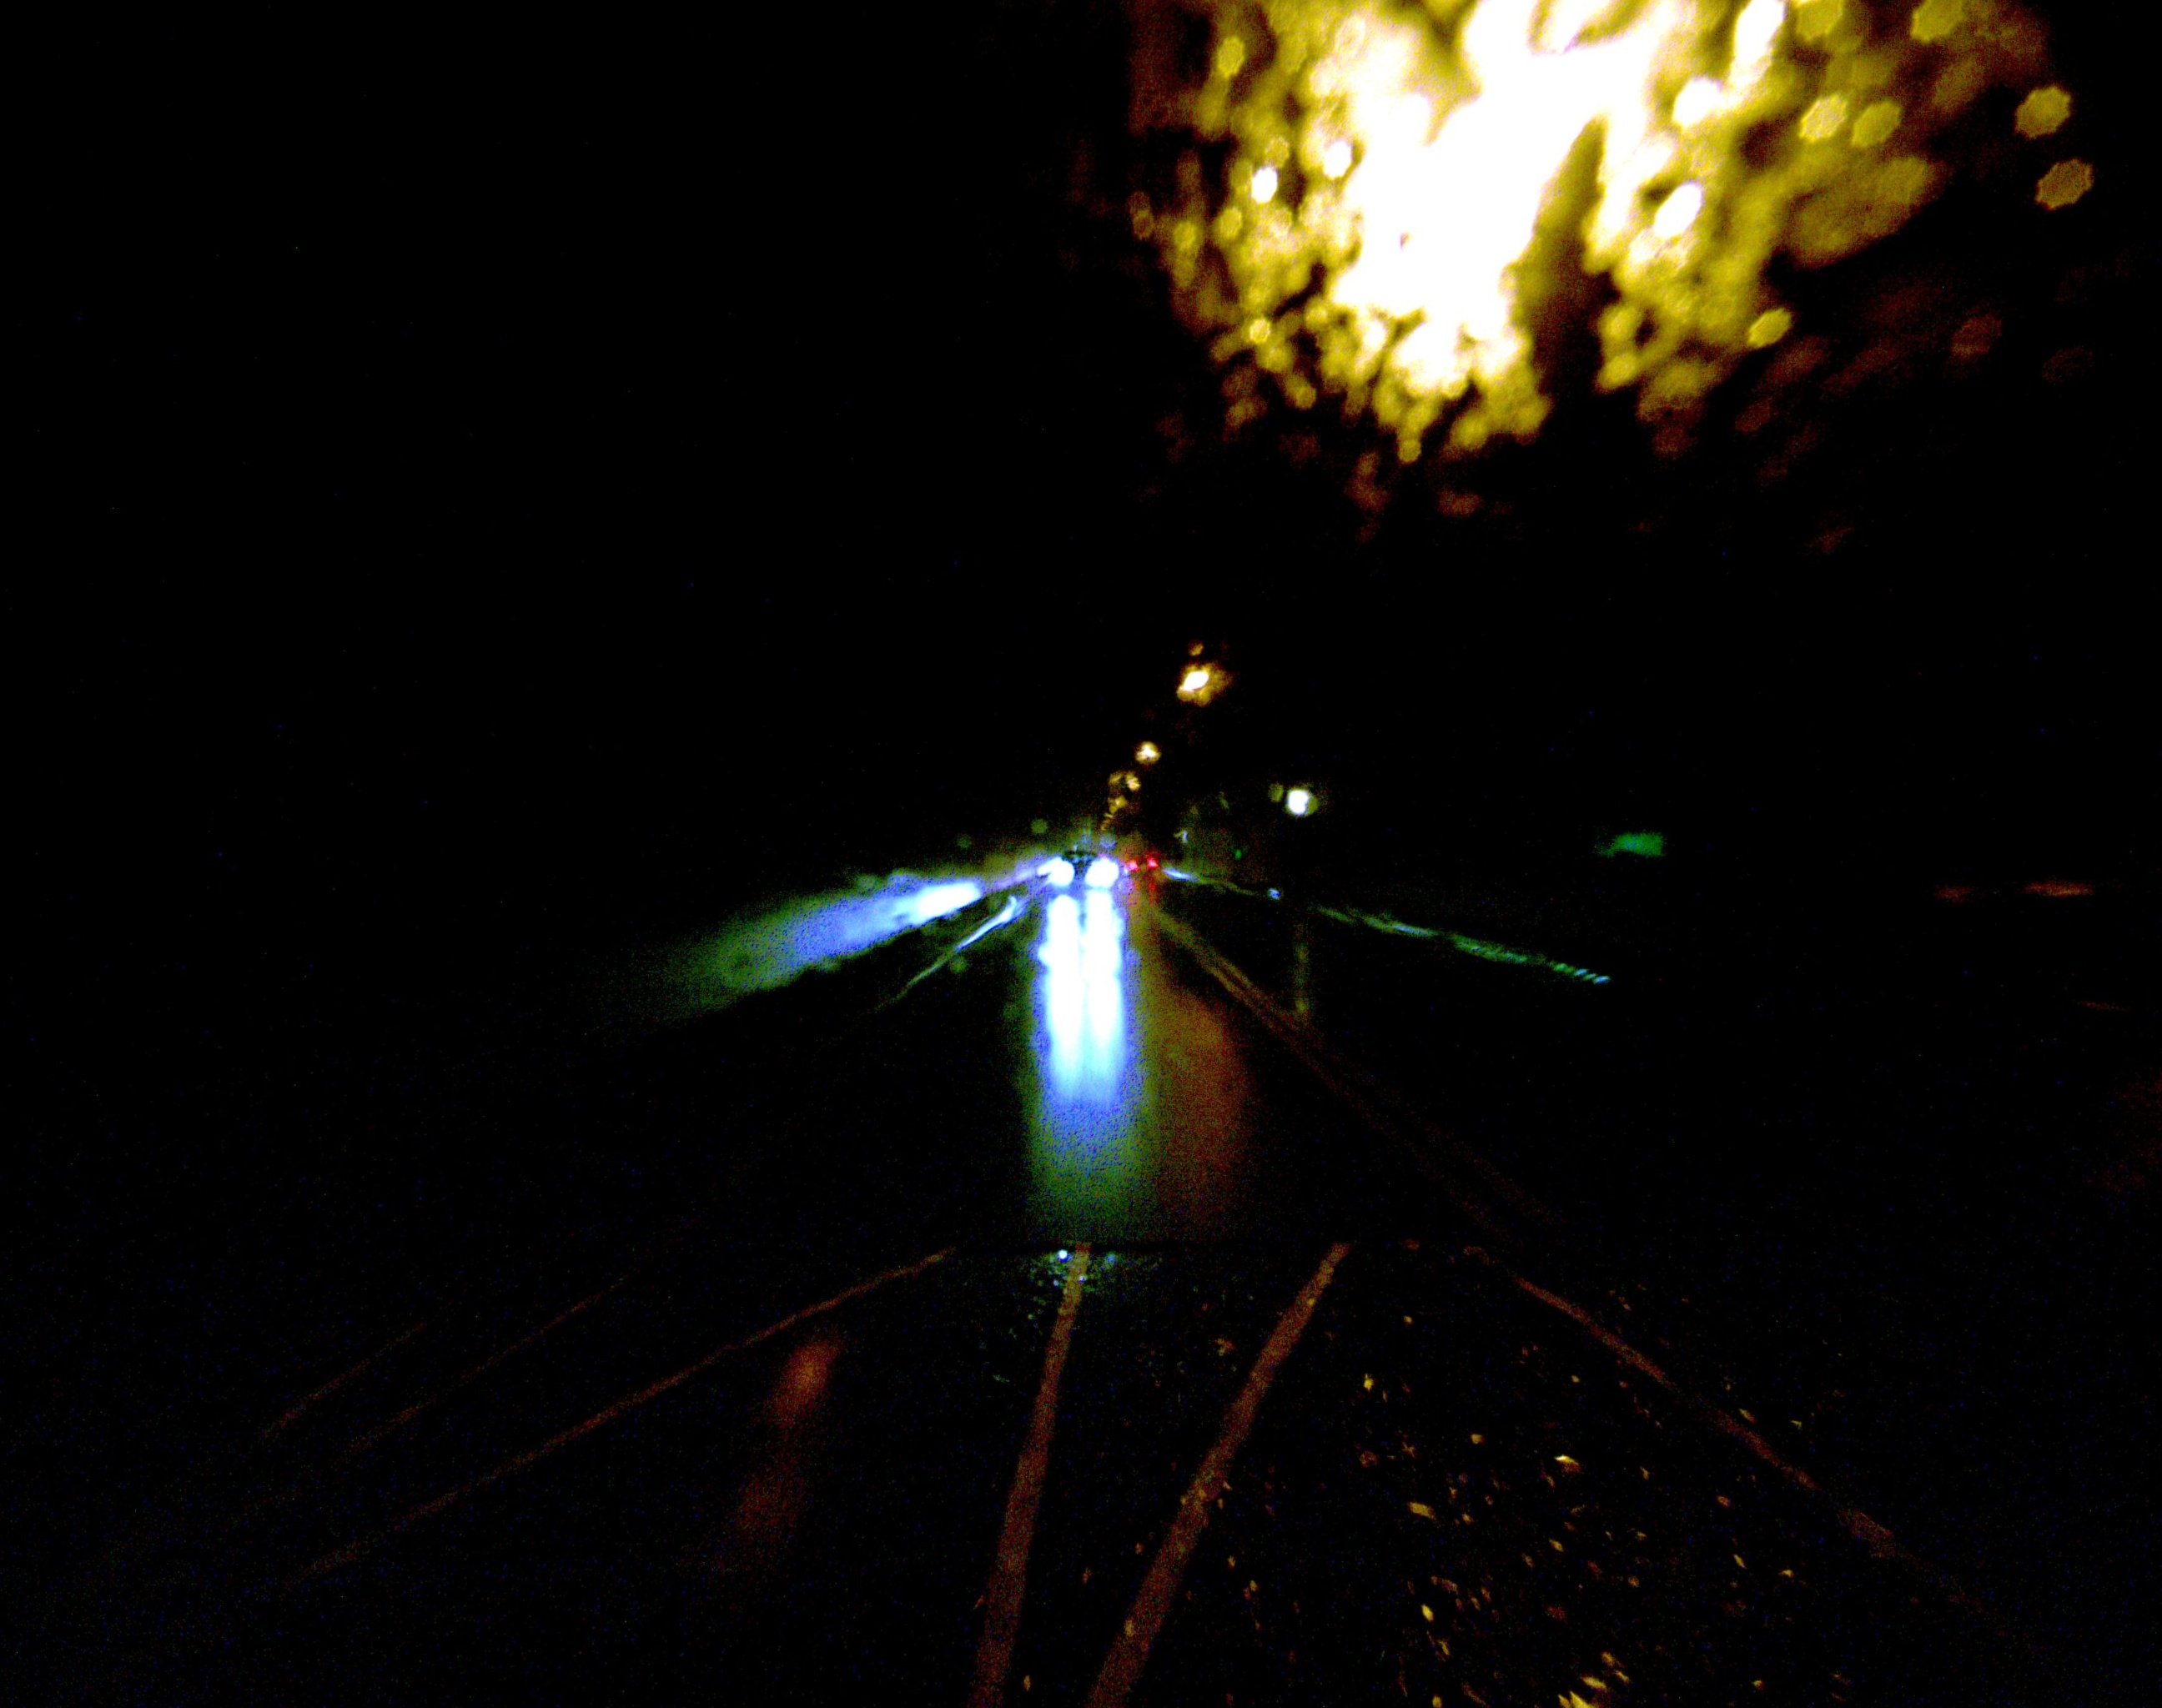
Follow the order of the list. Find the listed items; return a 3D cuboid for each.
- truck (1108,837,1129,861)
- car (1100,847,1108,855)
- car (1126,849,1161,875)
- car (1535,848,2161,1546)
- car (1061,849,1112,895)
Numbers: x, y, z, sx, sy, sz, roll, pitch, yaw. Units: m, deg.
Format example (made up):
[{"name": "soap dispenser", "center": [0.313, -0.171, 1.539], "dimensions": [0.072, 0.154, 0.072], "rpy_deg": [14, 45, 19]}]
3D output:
[{"name": "truck", "center": [4.966, -0.622, 100.468], "dimensions": [2.285, 2.999, 6.593], "rpy_deg": [-2, 0, -1]}, {"name": "car", "center": [5.178, -0.710, 171.443], "dimensions": [1.733, 1.781, 3.932], "rpy_deg": [-2, 1, 1]}, {"name": "car", "center": [3.744, 0.440, 46.079], "dimensions": [1.799, 1.474, 3.868], "rpy_deg": [-1, 0, -1]}, {"name": "car", "center": [3.341, 0.789, 2.198], "dimensions": [1.761, 1.519, 3.814], "rpy_deg": [-3, 1, 1]}, {"name": "car", "center": [0.234, 0.648, 29.785], "dimensions": [1.829, 1.650, 3.929], "rpy_deg": [0, 1, 1]}]
